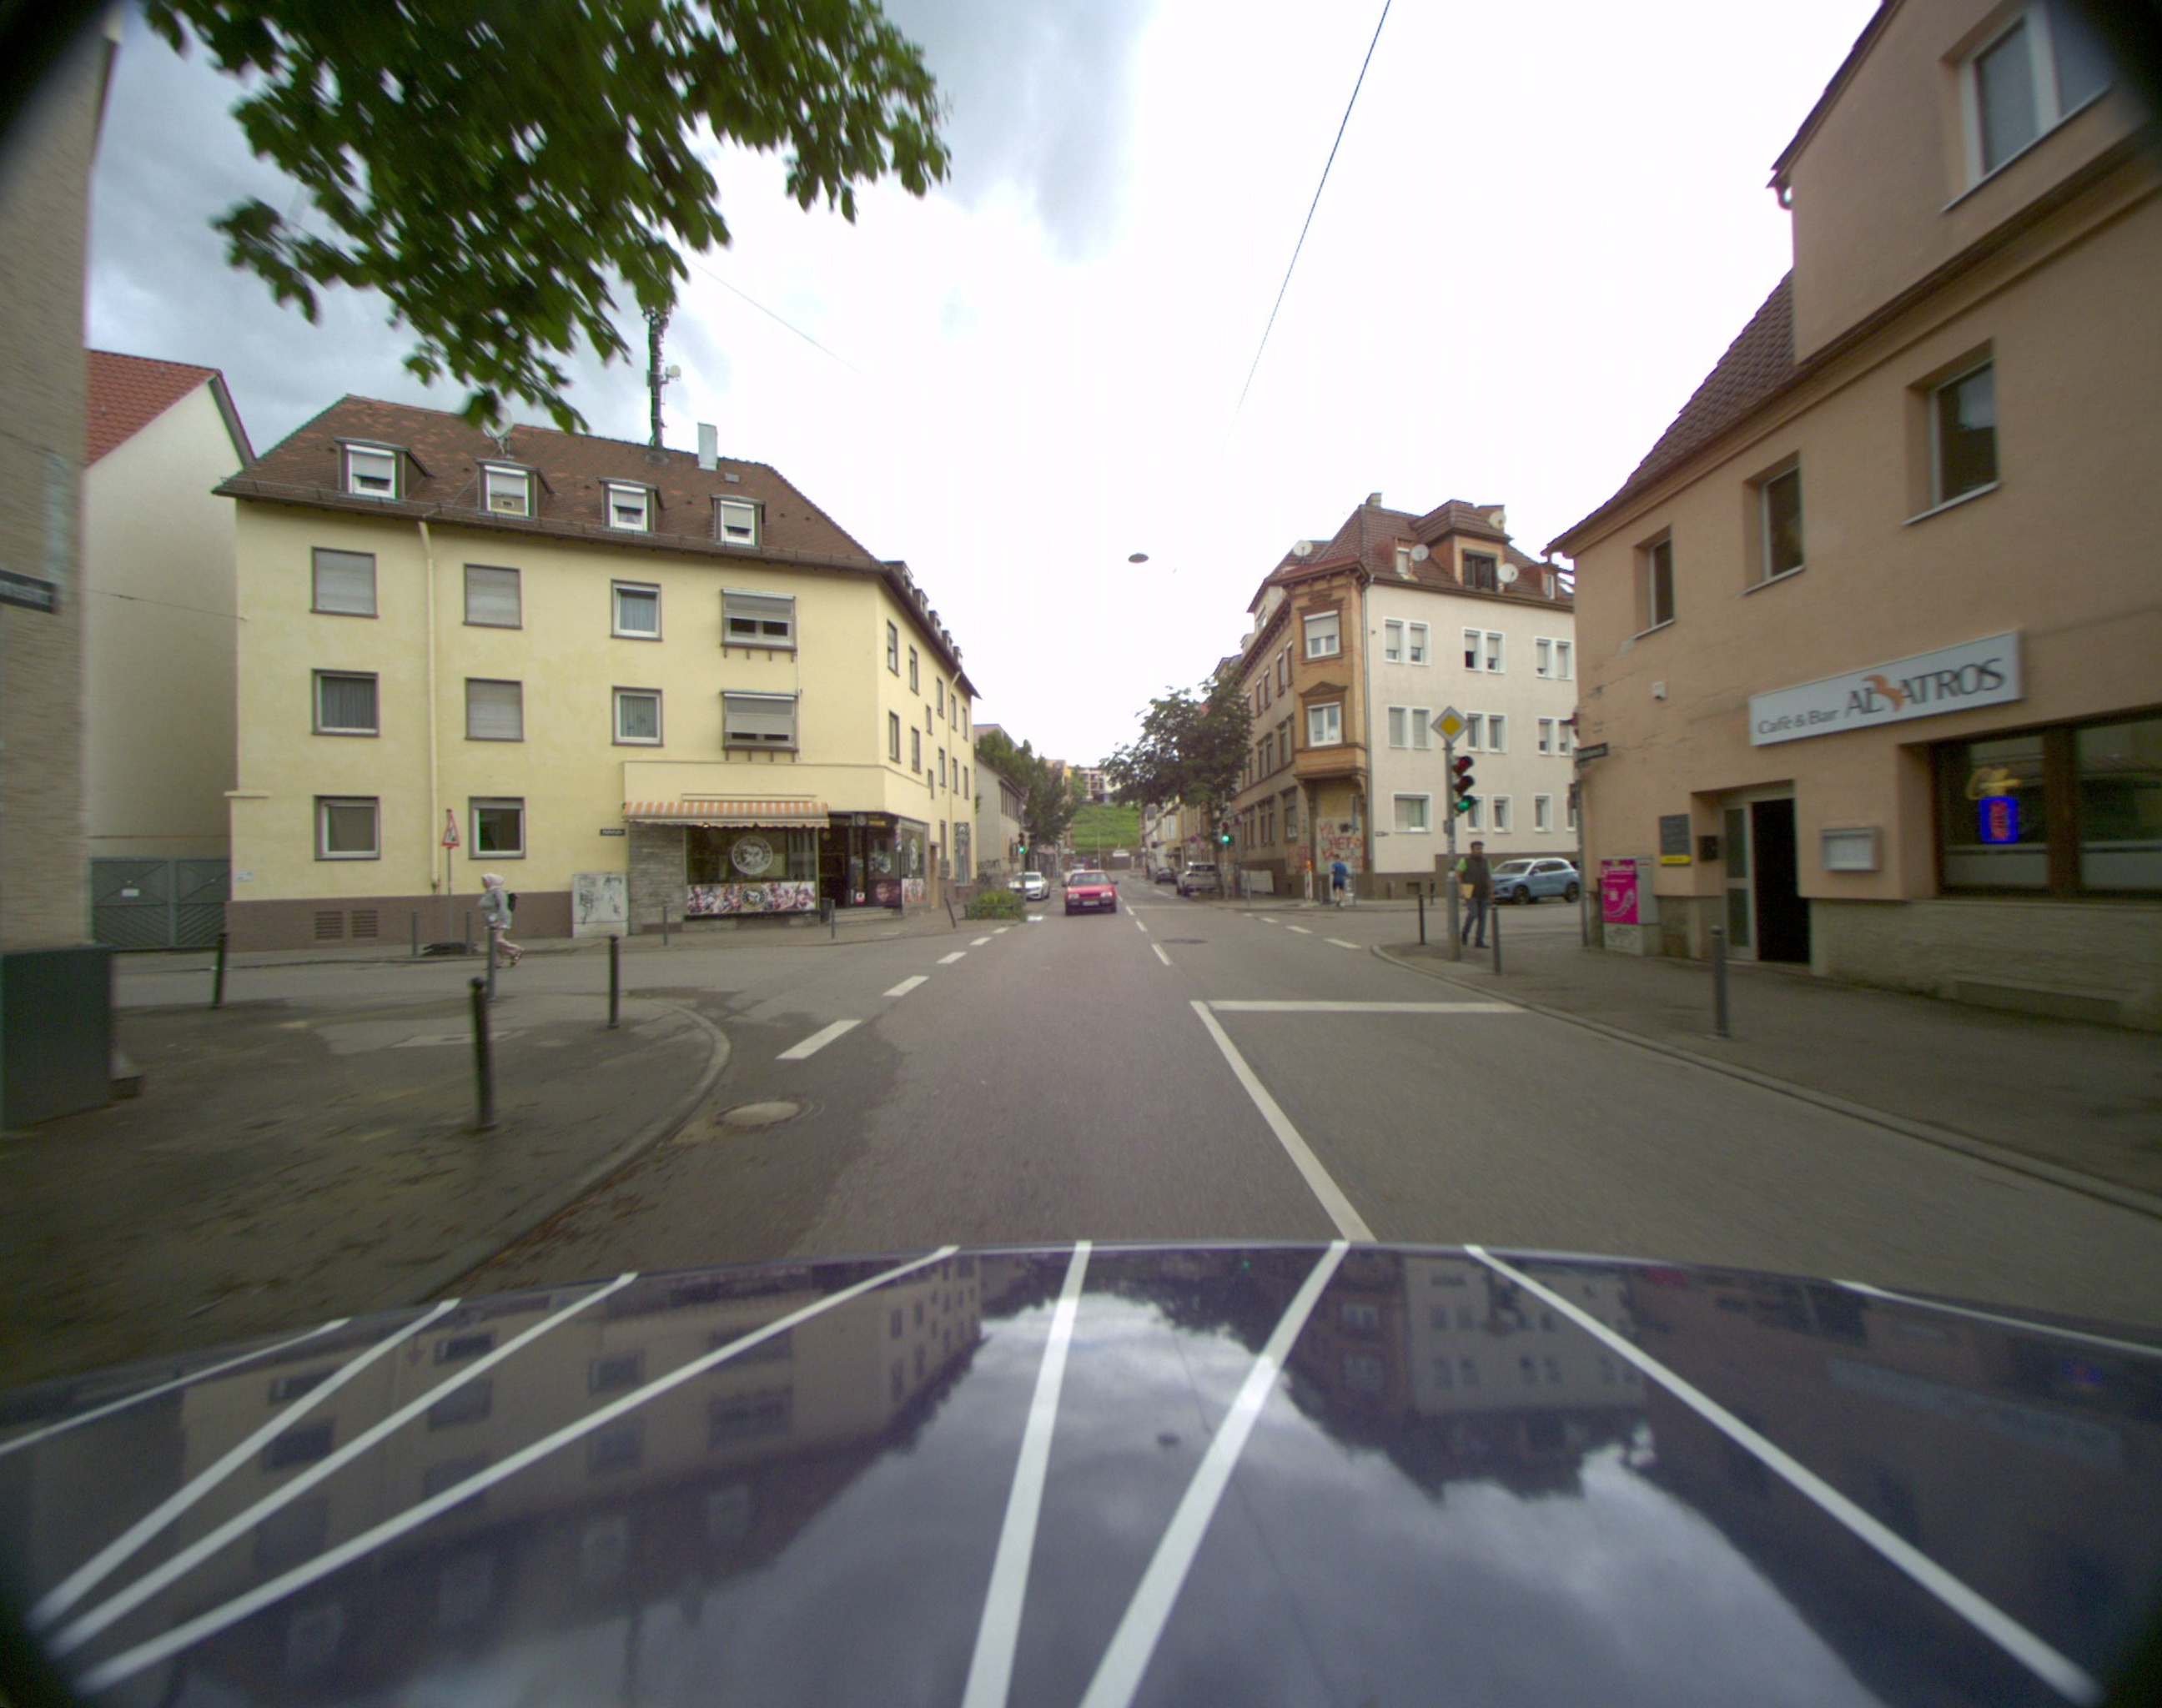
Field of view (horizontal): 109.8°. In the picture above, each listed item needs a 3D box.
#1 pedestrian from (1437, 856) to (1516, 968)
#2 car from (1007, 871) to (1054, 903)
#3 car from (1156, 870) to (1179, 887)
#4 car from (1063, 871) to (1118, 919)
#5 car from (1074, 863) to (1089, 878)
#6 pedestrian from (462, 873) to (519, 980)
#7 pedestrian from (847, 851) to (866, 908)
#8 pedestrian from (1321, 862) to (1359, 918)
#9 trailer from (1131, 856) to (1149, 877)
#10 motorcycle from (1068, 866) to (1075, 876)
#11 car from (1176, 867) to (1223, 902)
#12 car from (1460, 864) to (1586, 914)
[{"bbox_3d":[6.477,0.929,12.492,0.740,1.744,0.983,-2,0,1],"label":"pedestrian"},{"bbox_3d":[-2.588,1.684,39.893,1.771,1.457,4.785,-2,-1,4],"label":"car"},{"bbox_3d":[7.291,2.082,64.437,1.582,1.374,4.355,0,-1,2],"label":"car"},{"bbox_3d":[0.399,1.330,25.626,1.626,1.387,4.001,-2,-1,3],"label":"car"},{"bbox_3d":[0.132,2.387,110.594,1.998,1.970,4.878,-2,-1,1],"label":"car"},{"bbox_3d":[-9.607,1.151,12.391,0.677,1.654,0.799,-1,0,-35],"label":"pedestrian"},{"bbox_3d":[-7.162,0.814,24.258,0.397,1.764,0.386,-3,1,-33],"label":"pedestrian"},{"bbox_3d":[8.331,1.142,24.470,0.740,1.707,1.156,-2,-1,-2],"label":"pedestrian"},{"bbox_3d":[8.216,1.762,106.707,2.450,2.787,6.305,0,-1,3],"label":"trailer"},{"bbox_3d":[-1.120,1.976,88.640,0.648,1.219,2.338,-3,-1,2],"label":"motorcycle"},{"bbox_3d":[6.130,1.546,39.783,1.895,1.702,4.742,0,-1,2],"label":"car"},{"bbox_3d":[15.364,1.186,26.444,3.726,1.542,1.772,-1,-1,-20],"label":"car"}]
